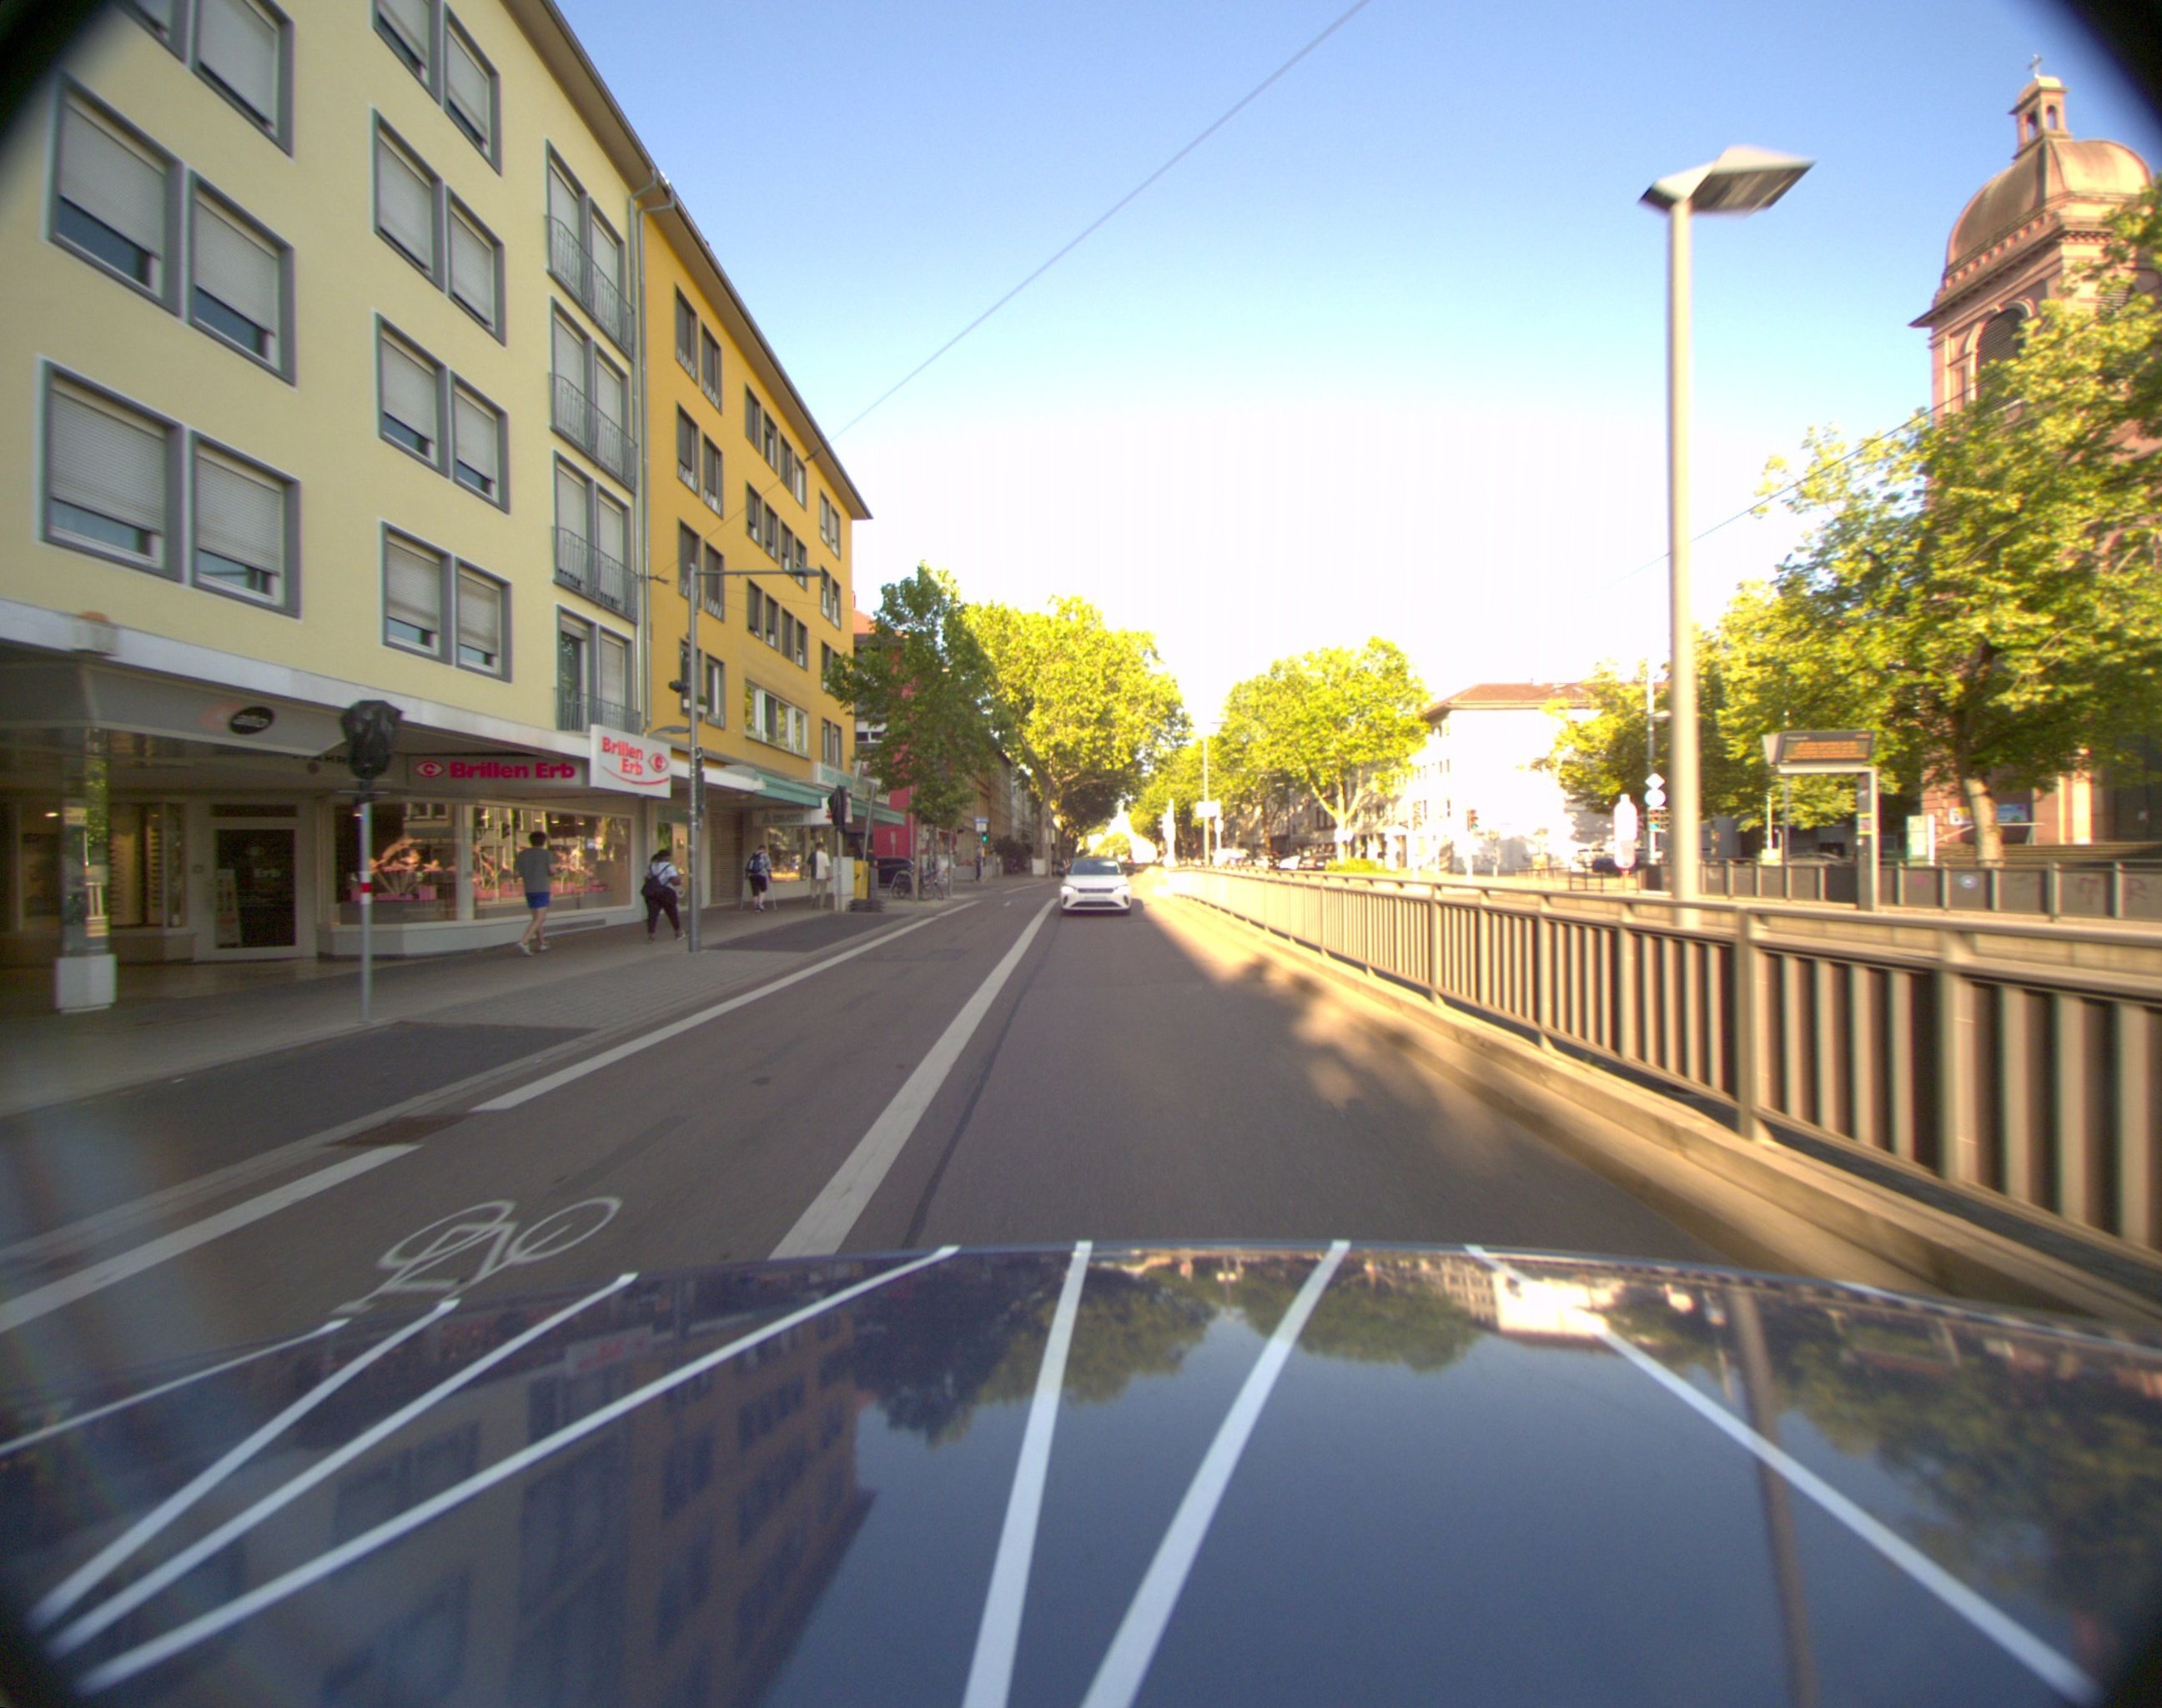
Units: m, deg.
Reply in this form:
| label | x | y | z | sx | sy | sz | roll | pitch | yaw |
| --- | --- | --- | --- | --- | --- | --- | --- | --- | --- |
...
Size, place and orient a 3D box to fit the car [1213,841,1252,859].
| label | x | y | z | sx | sy | sz | roll | pitch | yaw |
| --- | --- | --- | --- | --- | --- | --- | --- | --- | --- |
| car | 23.125 | -0.613 | 116.130 | 5.619 | 2.684 | 2.176 | -1 | 0 | -23 |

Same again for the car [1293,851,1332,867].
| label | x | y | z | sx | sy | sz | roll | pitch | yaw |
| --- | --- | --- | --- | --- | --- | --- | --- | --- | --- |
| car | 22.688 | 0.497 | 74.423 | 3.979 | 1.495 | 1.827 | -1 | 0 | -42 |

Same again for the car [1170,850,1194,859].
| label | x | y | z | sx | sy | sz | roll | pitch | yaw |
| --- | --- | --- | --- | --- | --- | --- | --- | --- | --- |
| car | 18.753 | 0.120 | 140.970 | 4.005 | 1.696 | 1.996 | -1 | 0 | -26 |

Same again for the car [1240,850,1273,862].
| label | x | y | z | sx | sy | sz | roll | pitch | yaw |
| --- | --- | --- | --- | --- | --- | --- | --- | --- | --- |
| car | 22.994 | 0.231 | 99.507 | 4.265 | 1.449 | 1.902 | -1 | 1 | -35 |

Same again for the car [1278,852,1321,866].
| label | x | y | z | sx | sy | sz | roll | pitch | yaw |
| --- | --- | --- | --- | --- | --- | --- | --- | --- | --- |
| car | 22.129 | 0.465 | 77.020 | 4.266 | 1.369 | 2.147 | -1 | 1 | -40 |

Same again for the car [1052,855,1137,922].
| label | x | y | z | sx | sy | sz | roll | pitch | yaw |
| --- | --- | --- | --- | --- | --- | --- | --- | --- | --- |
| car | 0.309 | 0.780 | 19.042 | 1.865 | 1.394 | 3.932 | -3 | 0 | 0 |

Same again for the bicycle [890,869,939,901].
| label | x | y | z | sx | sy | sz | roll | pitch | yaw |
| --- | --- | --- | --- | --- | --- | --- | --- | --- | --- |
| bicycle | -5.485 | 1.012 | 25.043 | 1.487 | 1.002 | 0.454 | -1 | 1 | -2 |

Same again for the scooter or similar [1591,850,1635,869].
| label | x | y | z | sx | sy | sz | roll | pitch | yaw |
| --- | --- | --- | --- | --- | --- | --- | --- | --- | --- |
| scooter or similar | 33.374 | 0.341 | 47.744 | 1.096 | 1.119 | 2.448 | -1 | 0 | 1 |

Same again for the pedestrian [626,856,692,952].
| label | x | y | z | sx | sy | sz | roll | pitch | yaw |
| --- | --- | --- | --- | --- | --- | --- | --- | --- | --- |
| pedestrian | -7.260 | 0.836 | 13.094 | 0.612 | 1.569 | 0.851 | -1 | 1 | 0 |

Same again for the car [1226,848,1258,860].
| label | x | y | z | sx | sy | sz | roll | pitch | yaw |
| --- | --- | --- | --- | --- | --- | --- | --- | --- | --- |
| car | 22.635 | -0.054 | 106.829 | 4.005 | 1.608 | 1.996 | -1 | 0 | -26 |

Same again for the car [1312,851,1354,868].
| label | x | y | z | sx | sy | sz | roll | pitch | yaw |
| --- | --- | --- | --- | --- | --- | --- | --- | --- | --- |
| car | 22.503 | 0.461 | 67.831 | 3.979 | 1.423 | 1.767 | -1 | 0 | -42 |

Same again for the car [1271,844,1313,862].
| label | x | y | z | sx | sy | sz | roll | pitch | yaw |
| --- | --- | --- | --- | --- | --- | --- | --- | --- | --- |
| car | 23.231 | -0.103 | 83.661 | 4.259 | 1.932 | 1.515 | -1 | 0 | -14 |

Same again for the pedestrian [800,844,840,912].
| label | x | y | z | sx | sy | sz | roll | pitch | yaw |
| --- | --- | --- | --- | --- | --- | --- | --- | --- | --- |
| pedestrian | -6.968 | 0.618 | 20.313 | 0.725 | 1.769 | 0.766 | -1 | 1 | 1 |

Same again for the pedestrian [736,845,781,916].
| label | x | y | z | sx | sy | sz | roll | pitch | yaw |
| --- | --- | --- | --- | --- | --- | --- | --- | --- | --- |
| pedestrian | -8.048 | 0.646 | 18.984 | 0.725 | 1.713 | 0.766 | -1 | 1 | 1 |

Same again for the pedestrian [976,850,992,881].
| label | x | y | z | sx | sy | sz | roll | pitch | yaw |
| --- | --- | --- | --- | --- | --- | --- | --- | --- | --- |
| pedestrian | -5.465 | 0.662 | 42.833 | 0.728 | 1.701 | 0.816 | 1 | 1 | 1 |

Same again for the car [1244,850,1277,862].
| label | x | y | z | sx | sy | sz | roll | pitch | yaw |
| --- | --- | --- | --- | --- | --- | --- | --- | --- | --- |
| car | 22.722 | 0.238 | 96.232 | 4.265 | 1.451 | 1.598 | -1 | 1 | -35 |

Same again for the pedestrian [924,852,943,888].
| label | x | y | z | sx | sy | sz | roll | pitch | yaw |
| --- | --- | --- | --- | --- | --- | --- | --- | --- | --- |
| pedestrian | -7.452 | 0.802 | 38.454 | 0.745 | 1.769 | 0.894 | -1 | 1 | 1 |

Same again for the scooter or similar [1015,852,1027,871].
| label | x | y | z | sx | sy | sz | roll | pitch | yaw |
| --- | --- | --- | --- | --- | --- | --- | --- | --- | --- |
| scooter or similar | -4.804 | 0.600 | 61.318 | 0.666 | 1.461 | 2.545 | -1 | 0 | 1 |

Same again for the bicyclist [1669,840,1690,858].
| label | x | y | z | sx | sy | sz | roll | pitch | yaw |
| --- | --- | --- | --- | --- | --- | --- | --- | --- | --- |
| bicyclist | 42.769 | -0.357 | 54.316 | 0.968 | 1.323 | 0.633 | -1 | 1 | 1 |

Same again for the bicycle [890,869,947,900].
| label | x | y | z | sx | sy | sz | roll | pitch | yaw |
| --- | --- | --- | --- | --- | --- | --- | --- | --- | --- |
| bicycle | -5.454 | 1.022 | 25.590 | 1.803 | 1.002 | 0.541 | 1 | 1 | -2 |

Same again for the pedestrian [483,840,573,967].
| label | x | y | z | sx | sy | sz | roll | pitch | yaw |
| --- | --- | --- | --- | --- | --- | --- | --- | --- | --- |
| pedestrian | -8.320 | 0.718 | 11.460 | 0.725 | 1.829 | 0.766 | -1 | 1 | 1 |

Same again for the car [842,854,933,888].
| label | x | y | z | sx | sy | sz | roll | pitch | yaw |
| --- | --- | --- | --- | --- | --- | --- | --- | --- | --- |
| car | -10.307 | 0.890 | 40.583 | 4.352 | 1.677 | 1.772 | -1 | 0 | 0 |

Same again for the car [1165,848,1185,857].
| label | x | y | z | sx | sy | sz | roll | pitch | yaw |
| --- | --- | --- | --- | --- | --- | --- | --- | --- | --- |
| car | 23.353 | -0.313 | 188.236 | 4.951 | 2.200 | 2.096 | -1 | 0 | -41 |

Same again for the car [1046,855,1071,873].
| label | x | y | z | sx | sy | sz | roll | pitch | yaw |
| --- | --- | --- | --- | --- | --- | --- | --- | --- | --- |
| car | -1.826 | 0.809 | 62.426 | 1.802 | 1.393 | 4.370 | 1 | 0 | 1 |

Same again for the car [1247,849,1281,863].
| label | x | y | z | sx | sy | sz | roll | pitch | yaw |
| --- | --- | --- | --- | --- | --- | --- | --- | --- | --- |
| car | 22.297 | 0.222 | 92.671 | 4.266 | 1.605 | 1.902 | -1 | 1 | -40 |

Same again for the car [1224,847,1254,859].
| label | x | y | z | sx | sy | sz | roll | pitch | yaw |
| --- | --- | --- | --- | --- | --- | --- | --- | --- | --- |
| car | 23.492 | -0.168 | 113.275 | 4.005 | 1.805 | 1.995 | 0 | 1 | -26 |

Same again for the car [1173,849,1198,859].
| label | x | y | z | sx | sy | sz | roll | pitch | yaw |
| --- | --- | --- | --- | --- | --- | --- | --- | --- | --- |
| car | 19.602 | 0.026 | 142.655 | 4.234 | 1.696 | 1.999 | -1 | 0 | -3 |

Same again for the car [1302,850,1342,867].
| label | x | y | z | sx | sy | sz | roll | pitch | yaw |
| --- | --- | --- | --- | --- | --- | --- | --- | --- | --- |
| car | 22.600 | 0.417 | 71.100 | 3.979 | 1.424 | 1.738 | -1 | -1 | -42 |

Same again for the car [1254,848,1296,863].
| label | x | y | z | sx | sy | sz | roll | pitch | yaw |
| --- | --- | --- | --- | --- | --- | --- | --- | --- | --- |
| car | 21.755 | 0.128 | 85.197 | 4.259 | 1.548 | 1.641 | -1 | 0 | -14 |

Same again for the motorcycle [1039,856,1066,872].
| label | x | y | z | sx | sy | sz | roll | pitch | yaw |
| --- | --- | --- | --- | --- | --- | --- | --- | --- | --- |
| motorcycle | -2.039 | 0.745 | 55.000 | 1.895 | 1.104 | 0.783 | 2 | -2 | -42 |

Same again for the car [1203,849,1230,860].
| label | x | y | z | sx | sy | sz | roll | pitch | yaw |
| --- | --- | --- | --- | --- | --- | --- | --- | --- | --- |
| car | 22.904 | 0.036 | 128.305 | 4.005 | 1.805 | 1.996 | -1 | 0 | -26 |

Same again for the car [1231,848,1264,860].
| label | x | y | z | sx | sy | sz | roll | pitch | yaw |
| --- | --- | --- | --- | --- | --- | --- | --- | --- | --- |
| car | 22.691 | 0.050 | 103.701 | 4.003 | 1.509 | 1.997 | -1 | 0 | -19 |

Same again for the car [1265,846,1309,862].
| label | x | y | z | sx | sy | sz | roll | pitch | yaw |
| --- | --- | --- | --- | --- | --- | --- | --- | --- | --- |
| car | 21.782 | -0.008 | 80.279 | 4.265 | 1.674 | 2.148 | -1 | 0 | -34 |

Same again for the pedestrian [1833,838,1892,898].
| label | x | y | z | sx | sy | sz | roll | pitch | yaw |
| --- | --- | --- | --- | --- | --- | --- | --- | --- | --- |
| pedestrian | 23.651 | 0.398 | 23.010 | 0.921 | 1.750 | 0.832 | -2 | 2 | 2 |

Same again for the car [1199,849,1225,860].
| label | x | y | z | sx | sy | sz | roll | pitch | yaw |
| --- | --- | --- | --- | --- | --- | --- | --- | --- | --- |
| car | 22.762 | 0.039 | 131.579 | 4.005 | 1.805 | 1.996 | -1 | 0 | -26 |

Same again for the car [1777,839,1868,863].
| label | x | y | z | sx | sy | sz | roll | pitch | yaw |
| --- | --- | --- | --- | --- | --- | --- | --- | --- | --- |
| car | 46.187 | -0.167 | 47.442 | 1.815 | 1.390 | 4.001 | -1 | -1 | 1 |

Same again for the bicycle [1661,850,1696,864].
| label | x | y | z | sx | sy | sz | roll | pitch | yaw |
| --- | --- | --- | --- | --- | --- | --- | --- | --- | --- |
| bicycle | 42.731 | 0.212 | 54.339 | 1.987 | 0.974 | 0.633 | -1 | 0 | 1 |

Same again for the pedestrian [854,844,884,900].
| label | x | y | z | sx | sy | sz | roll | pitch | yaw |
| --- | --- | --- | --- | --- | --- | --- | --- | --- | --- |
| pedestrian | -7.021 | 0.588 | 25.149 | 0.725 | 1.796 | 0.766 | -1 | 1 | 1 |
